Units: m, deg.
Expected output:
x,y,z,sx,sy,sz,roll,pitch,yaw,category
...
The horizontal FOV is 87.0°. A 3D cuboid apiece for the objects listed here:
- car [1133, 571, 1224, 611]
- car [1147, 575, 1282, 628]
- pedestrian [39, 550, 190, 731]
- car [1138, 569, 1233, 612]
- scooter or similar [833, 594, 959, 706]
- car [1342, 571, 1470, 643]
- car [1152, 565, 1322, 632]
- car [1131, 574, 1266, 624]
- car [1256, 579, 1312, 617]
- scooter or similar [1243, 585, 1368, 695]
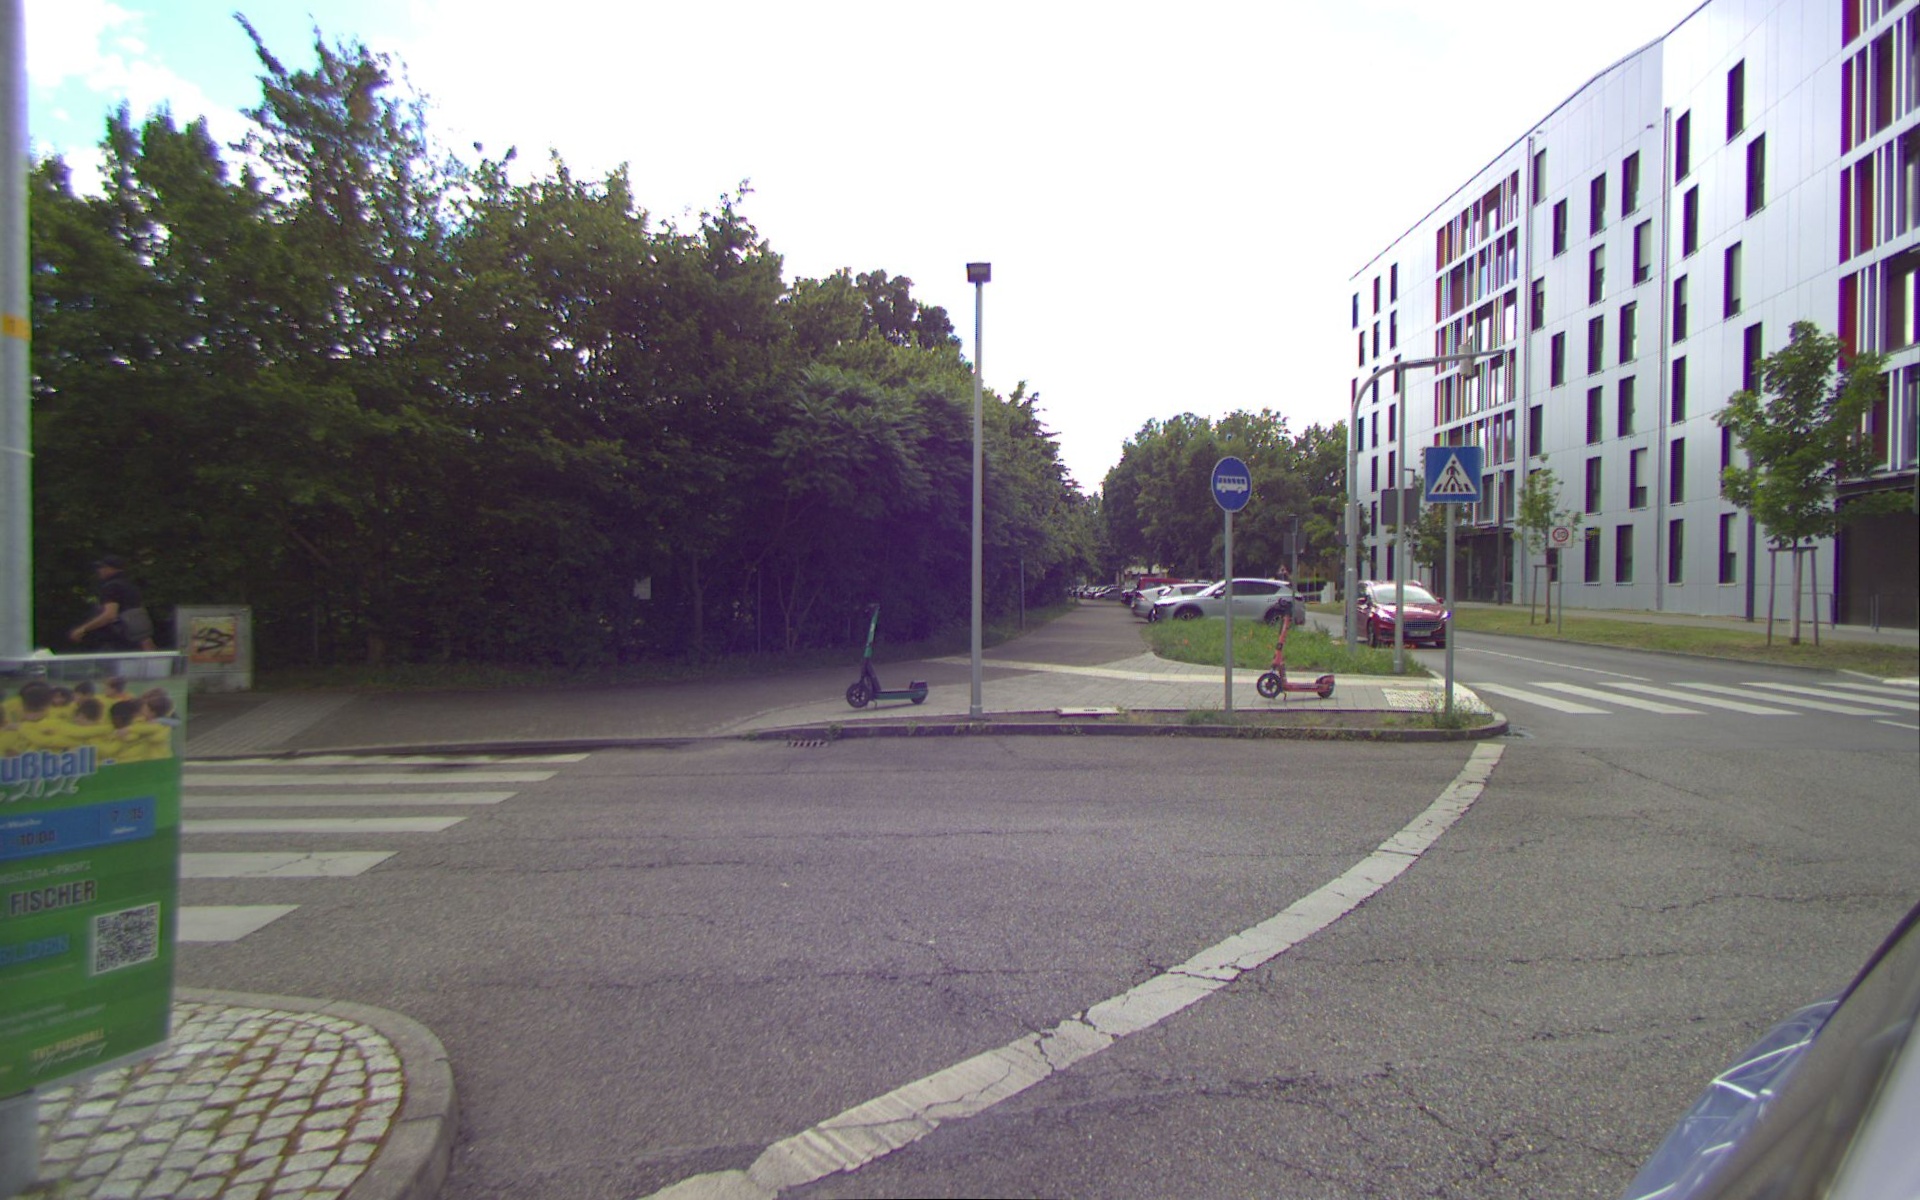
x,y,z,sx,sy,sz,roll,pitch,yaw,category
11.490,-0.471,53.480,4.488,1.923,1.880,2,1,8,car
8.311,0.027,33.350,4.098,1.606,1.792,1,1,8,car
-9.001,0.402,10.825,0.964,1.845,0.859,0,1,-16,pedestrian
10.674,-0.456,48.157,4.222,1.916,1.834,1,1,8,car
-0.793,0.594,12.766,1.468,1.290,0.621,-2,2,-37,scooter or similar
11.247,0.118,25.834,1.903,1.652,4.232,-1,1,9,car
8.254,-0.065,30.570,4.582,1.774,2.067,2,1,6,car
8.336,-0.049,35.751,4.416,1.582,1.907,2,1,8,car
14.639,-0.144,45.870,1.788,1.638,3.991,0,1,9,car
4.408,0.477,12.902,1.494,1.329,0.573,-1,0,-22,scooter or similar
